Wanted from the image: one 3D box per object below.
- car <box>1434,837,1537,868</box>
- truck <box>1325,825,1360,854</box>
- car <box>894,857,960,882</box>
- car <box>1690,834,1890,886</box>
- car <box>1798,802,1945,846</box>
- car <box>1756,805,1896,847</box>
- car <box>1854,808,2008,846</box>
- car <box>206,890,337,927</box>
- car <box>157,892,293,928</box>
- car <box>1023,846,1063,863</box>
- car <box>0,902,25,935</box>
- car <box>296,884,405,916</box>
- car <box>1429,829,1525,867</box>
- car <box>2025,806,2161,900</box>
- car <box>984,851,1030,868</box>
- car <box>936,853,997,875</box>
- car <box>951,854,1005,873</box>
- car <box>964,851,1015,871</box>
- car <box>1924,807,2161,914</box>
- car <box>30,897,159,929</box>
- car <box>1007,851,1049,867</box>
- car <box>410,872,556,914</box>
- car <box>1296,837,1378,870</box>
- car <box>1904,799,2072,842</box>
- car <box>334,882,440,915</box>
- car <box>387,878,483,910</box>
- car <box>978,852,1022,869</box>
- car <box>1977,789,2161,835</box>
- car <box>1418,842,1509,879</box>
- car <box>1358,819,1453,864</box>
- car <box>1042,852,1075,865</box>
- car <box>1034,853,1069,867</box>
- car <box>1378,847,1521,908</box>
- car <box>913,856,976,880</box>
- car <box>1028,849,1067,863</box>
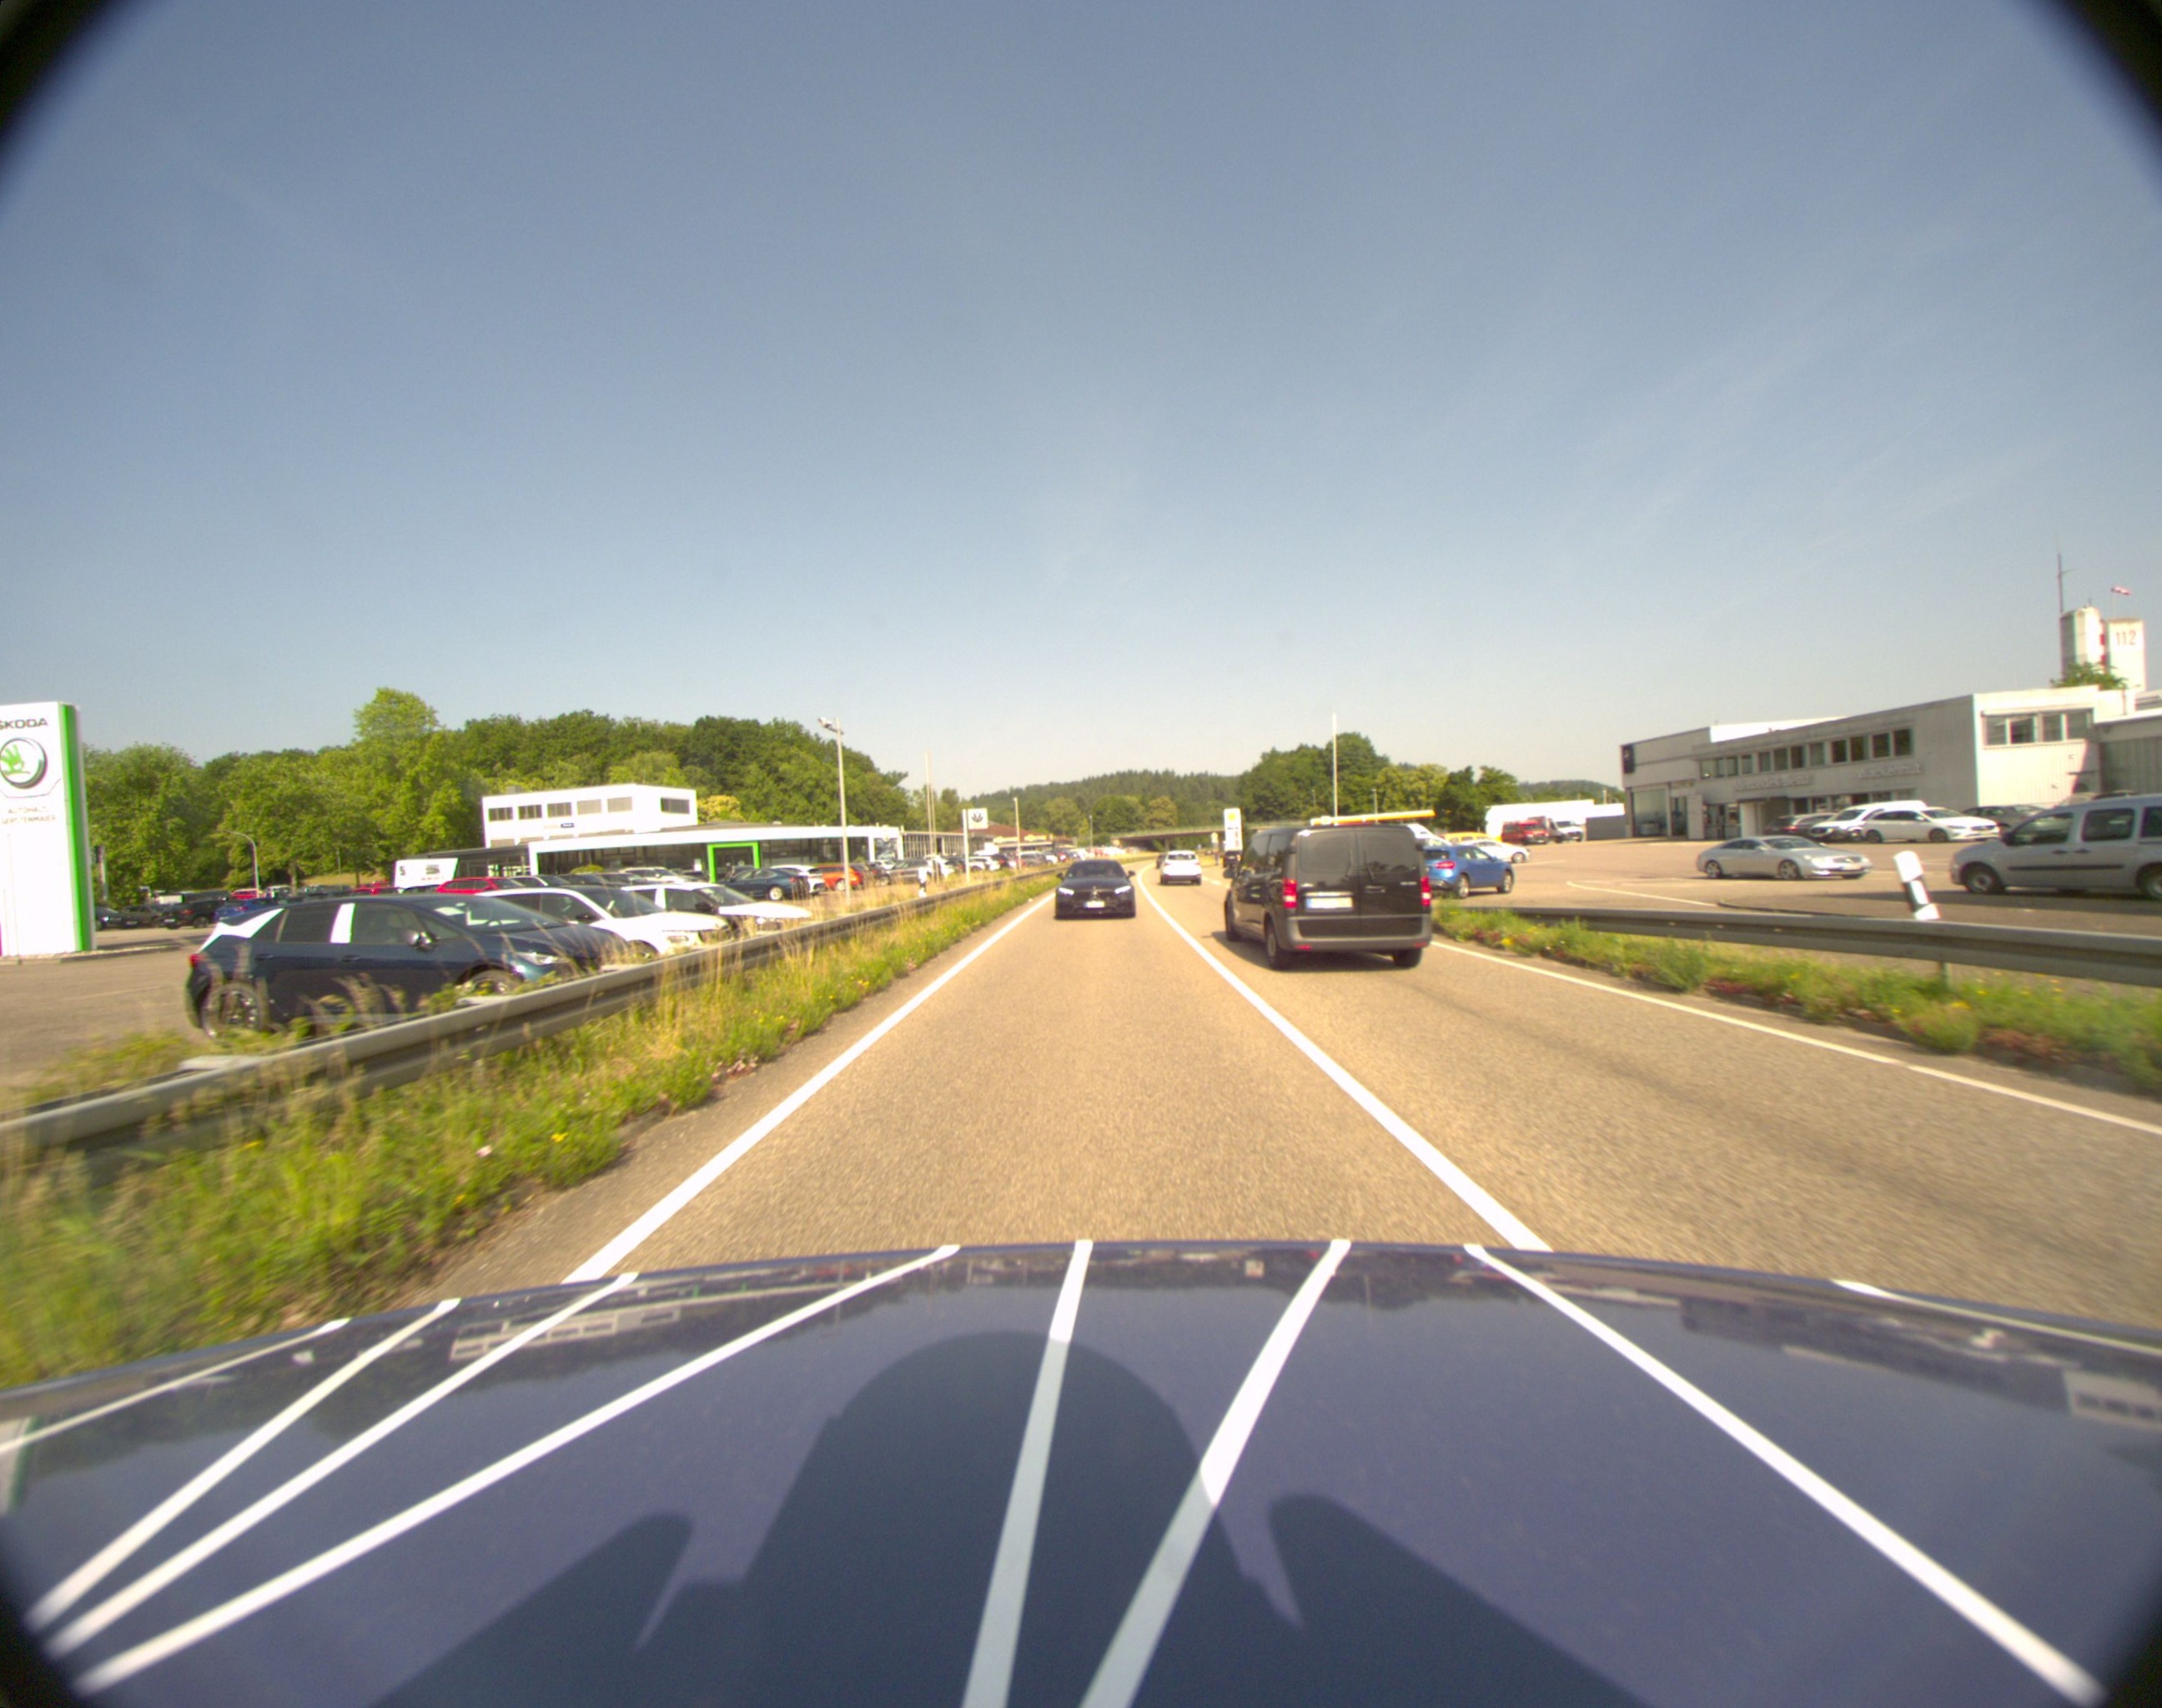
[{"bbox_3d":[22.005,-0.096,41.482,4.475,1.390,1.967,-4,0,3],"label":"car"},{"bbox_3d":[41.308,-2.381,119.444,3.055,4.110,16.798,-1,1,26],"label":"truck"},{"bbox_3d":[-10.375,1.035,51.320,3.995,1.485,1.791,-2,1,6],"label":"car"},{"bbox_3d":[21.591,0.191,23.492,1.809,1.378,4.833,-3,-1,3],"label":"car"},{"bbox_3d":[38.566,-1.427,37.171,4.825,1.843,1.954,-3,0,5],"label":"car"},{"bbox_3d":[38.542,-1.417,39.435,4.825,1.843,2.212,-3,-1,5],"label":"car"},{"bbox_3d":[37.042,-1.132,33.330,1.809,1.483,4.568,-3,1,3],"label":"car"},{"bbox_3d":[-42.484,2.838,40.061,1.837,1.537,4.464,-1,1,6],"label":"car"},{"bbox_3d":[-45.247,2.920,40.339,1.837,1.537,4.465,-1,1,8],"label":"car"},{"bbox_3d":[-4.138,0.065,82.796,3.993,1.622,1.923,-2,1,13],"label":"car"},{"bbox_3d":[-54.816,3.232,36.490,4.753,1.537,1.774,-1,1,-13],"label":"car"},{"bbox_3d":[-43.606,2.721,45.538,1.837,1.537,4.465,-1,1,8],"label":"car"},{"bbox_3d":[22.922,-0.324,44.091,4.390,1.797,2.002,-4,0,3],"label":"car"},{"bbox_3d":[20.565,-0.064,13.402,1.809,1.703,4.940,-3,-1,3],"label":"car"},{"bbox_3d":[-7.044,0.528,72.502,4.090,1.543,1.782,-1,1,9],"label":"car"},{"bbox_3d":[-9.188,0.769,61.006,4.456,1.591,1.855,-1,1,5],"label":"car"},{"bbox_3d":[-8.614,0.785,63.725,4.042,1.477,1.724,-1,1,13],"label":"car"},{"bbox_3d":[-7.941,0.585,66.060,3.884,1.654,1.841,-1,1,13],"label":"car"},{"bbox_3d":[18.264,0.080,13.499,1.809,1.703,4.410,-3,-1,4],"label":"car"},{"bbox_3d":[-57.149,3.396,44.084,4.750,1.537,1.775,-1,1,-4],"label":"car"},{"bbox_3d":[-5.356,0.506,76.953,3.844,1.450,1.747,-2,1,10],"label":"car"},{"bbox_3d":[-24.910,1.618,31.733,4.746,1.556,1.932,-1,1,6],"label":"car"},{"bbox_3d":[16.870,-0.034,50.297,4.682,1.847,2.144,-4,0,3],"label":"car"},{"bbox_3d":[39.843,-1.427,33.603,1.809,1.556,4.833,-3,-1,3],"label":"car"},{"bbox_3d":[-41.160,2.598,45.232,2.002,1.537,4.609,-1,1,0],"label":"car"},{"bbox_3d":[-38.303,2.353,45.238,2.003,1.537,4.607,-1,1,-5],"label":"car"},{"bbox_3d":[-7.442,0.610,69.866,3.738,1.450,1.665,-1,1,9],"label":"car"},{"bbox_3d":[41.995,-1.709,32.484,1.809,1.556,4.833,-3,-1,3],"label":"car"},{"bbox_3d":[17.211,0.262,34.097,4.237,1.395,1.893,-4,1,-37],"label":"car"},{"bbox_3d":[23.433,-0.895,55.016,5.733,2.729,2.286,-4,1,5],"label":"car"},{"bbox_3d":[-2.704,0.498,92.126,3.740,1.420,1.780,-2,1,8],"label":"car"},{"bbox_3d":[-3.416,0.684,88.591,3.737,1.398,1.824,-2,1,8],"label":"car"},{"bbox_3d":[10.794,0.632,22.174,4.240,1.498,1.980,-2,0,-37],"label":"car"},{"bbox_3d":[-9.646,0.980,53.765,3.994,1.485,1.731,-2,1,8],"label":"car"},{"bbox_3d":[-3.800,0.242,86.087,3.994,1.444,1.952,-2,1,8],"label":"car"}]
